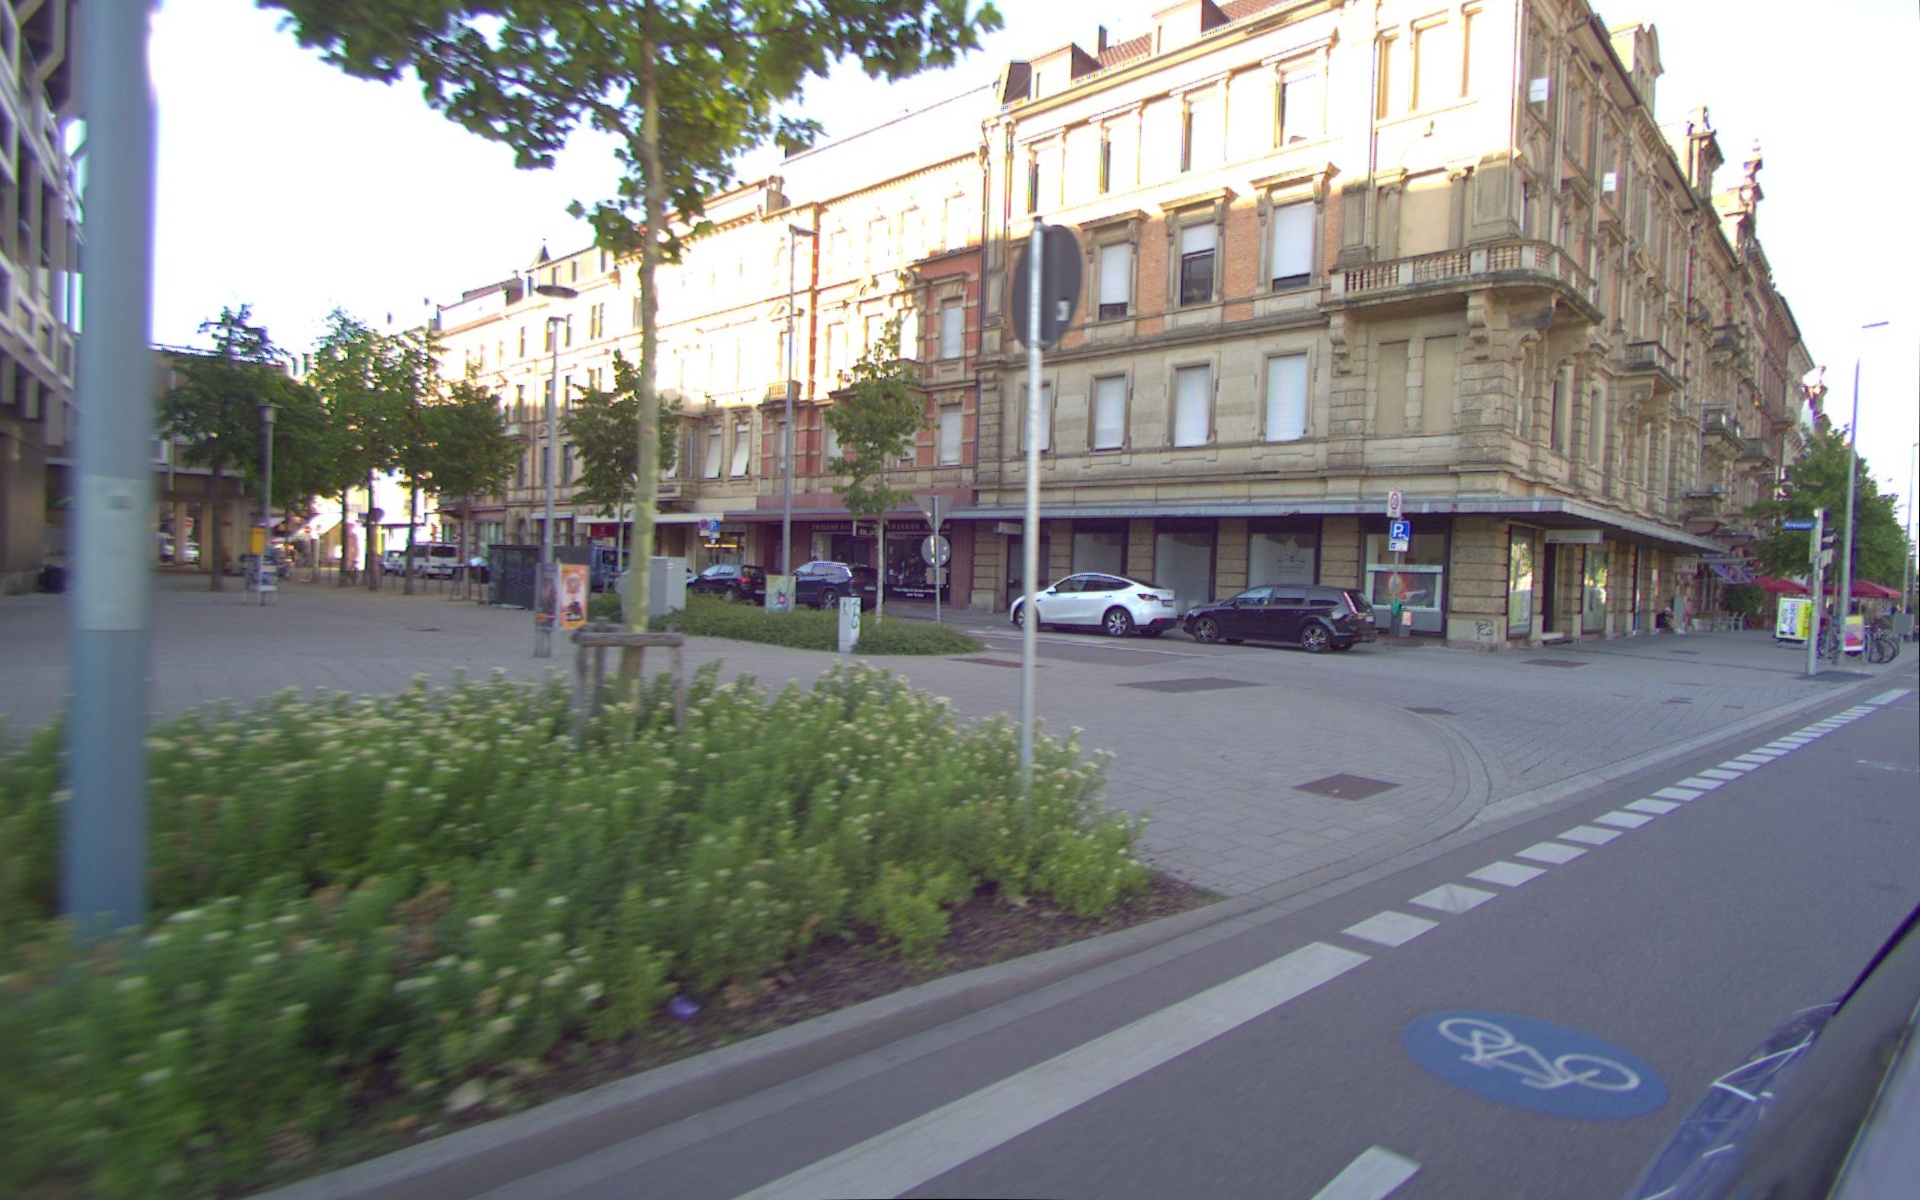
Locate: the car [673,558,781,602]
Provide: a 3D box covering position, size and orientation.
[{"bbox_3d":[-8.709,-0.785,37.641,4.189,1.500,1.836,3,2,41],"label":"car"}]

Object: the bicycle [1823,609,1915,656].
[{"bbox_3d":[25.173,0.884,28.047,0.498,1.117,1.759,1,4,-39],"label":"bicycle"}]

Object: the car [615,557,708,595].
[{"bbox_3d":[-12.021,-0.985,40.688,3.855,1.409,1.836,3,2,41],"label":"car"}]

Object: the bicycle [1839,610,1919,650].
[{"bbox_3d":[29.237,0.929,32.178,0.556,1.060,1.810,1,4,-39],"label":"bicycle"}]

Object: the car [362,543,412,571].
[{"bbox_3d":[-34.527,-2.569,60.986,3.366,1.630,1.634,3,2,41],"label":"car"}]

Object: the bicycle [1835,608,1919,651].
[{"bbox_3d":[28.215,0.889,31.096,0.556,1.117,1.850,1,4,-39],"label":"bicycle"}]

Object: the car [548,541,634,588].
[{"bbox_3d":[-16.193,-1.580,44.348,4.036,1.952,1.836,3,2,41],"label":"car"}]

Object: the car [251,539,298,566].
[{"bbox_3d":[-43.463,-3.030,64.151,3.365,1.630,1.634,3,2,41],"label":"car"}]

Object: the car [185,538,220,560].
[{"bbox_3d":[-53.934,-3.645,72.024,2.942,1.517,1.351,3,2,41],"label":"car"}]

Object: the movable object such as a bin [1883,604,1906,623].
[{"bbox_3d":[50.282,0.711,54.457,0.549,0.935,0.679,1,4,-25],"label":"movable object such as a bin"}]

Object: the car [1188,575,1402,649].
[{"bbox_3d":[7.566,0.201,23.101,4.257,1.467,1.836,3,2,41],"label":"car"}]

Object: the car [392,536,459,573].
[{"bbox_3d":[-29.877,-2.550,56.520,4.028,2.004,2.030,3,2,41],"label":"car"}]

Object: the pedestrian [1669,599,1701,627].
[{"bbox_3d":[27.369,0.485,38.219,0.790,0.974,0.815,1,2,-43],"label":"pedestrian"}]

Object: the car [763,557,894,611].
[{"bbox_3d":[-4.437,-0.585,33.798,4.435,1.644,1.850,3,2,41],"label":"car"}]

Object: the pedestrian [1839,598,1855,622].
[{"bbox_3d":[66.488,0.757,75.862,1.054,1.776,0.748,1,3,-45],"label":"pedestrian"}]

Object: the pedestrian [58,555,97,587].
[{"bbox_3d":[-23.794,-0.780,27.296,0.535,0.831,0.599,2,1,12],"label":"pedestrian"}]

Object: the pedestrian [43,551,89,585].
[{"bbox_3d":[-23.213,-0.828,26.278,0.550,0.831,0.712,2,1,12],"label":"pedestrian"}]

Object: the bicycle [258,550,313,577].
[{"bbox_3d":[-27.541,-1.486,41.346,1.887,1.056,0.585,2,1,3],"label":"bicycle"}]

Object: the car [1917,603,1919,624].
[{"bbox_3d":[69.915,1.012,72.476,1.849,1.471,5.170,6,4,43],"label":"car"}]

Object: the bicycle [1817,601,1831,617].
[{"bbox_3d":[70.064,0.733,82.060,0.705,1.235,2.039,2,1,44],"label":"bicycle"}]

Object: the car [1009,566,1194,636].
[{"bbox_3d":[3.639,-0.038,26.510,4.536,1.615,1.836,3,2,41],"label":"car"}]

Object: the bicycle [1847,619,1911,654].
[{"bbox_3d":[27.120,1.055,29.882,0.498,0.887,1.278,1,4,-39],"label":"bicycle"}]

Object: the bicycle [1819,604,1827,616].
[{"bbox_3d":[71.830,0.825,84.220,0.343,1.046,2.039,2,1,44],"label":"bicycle"}]

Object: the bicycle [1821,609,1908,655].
[{"bbox_3d":[25.948,0.905,29.062,0.498,1.117,1.727,1,4,-39],"label":"bicycle"}]

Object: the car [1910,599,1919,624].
[{"bbox_3d":[65.182,0.815,67.954,1.851,1.583,4.227,6,4,45],"label":"car"}]

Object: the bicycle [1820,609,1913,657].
[{"bbox_3d":[24.746,0.892,27.653,0.498,1.117,1.759,1,4,-39],"label":"bicycle"}]

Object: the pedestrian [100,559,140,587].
[{"bbox_3d":[-22.273,-0.713,26.839,0.433,0.736,0.721,2,1,4],"label":"pedestrian"}]
